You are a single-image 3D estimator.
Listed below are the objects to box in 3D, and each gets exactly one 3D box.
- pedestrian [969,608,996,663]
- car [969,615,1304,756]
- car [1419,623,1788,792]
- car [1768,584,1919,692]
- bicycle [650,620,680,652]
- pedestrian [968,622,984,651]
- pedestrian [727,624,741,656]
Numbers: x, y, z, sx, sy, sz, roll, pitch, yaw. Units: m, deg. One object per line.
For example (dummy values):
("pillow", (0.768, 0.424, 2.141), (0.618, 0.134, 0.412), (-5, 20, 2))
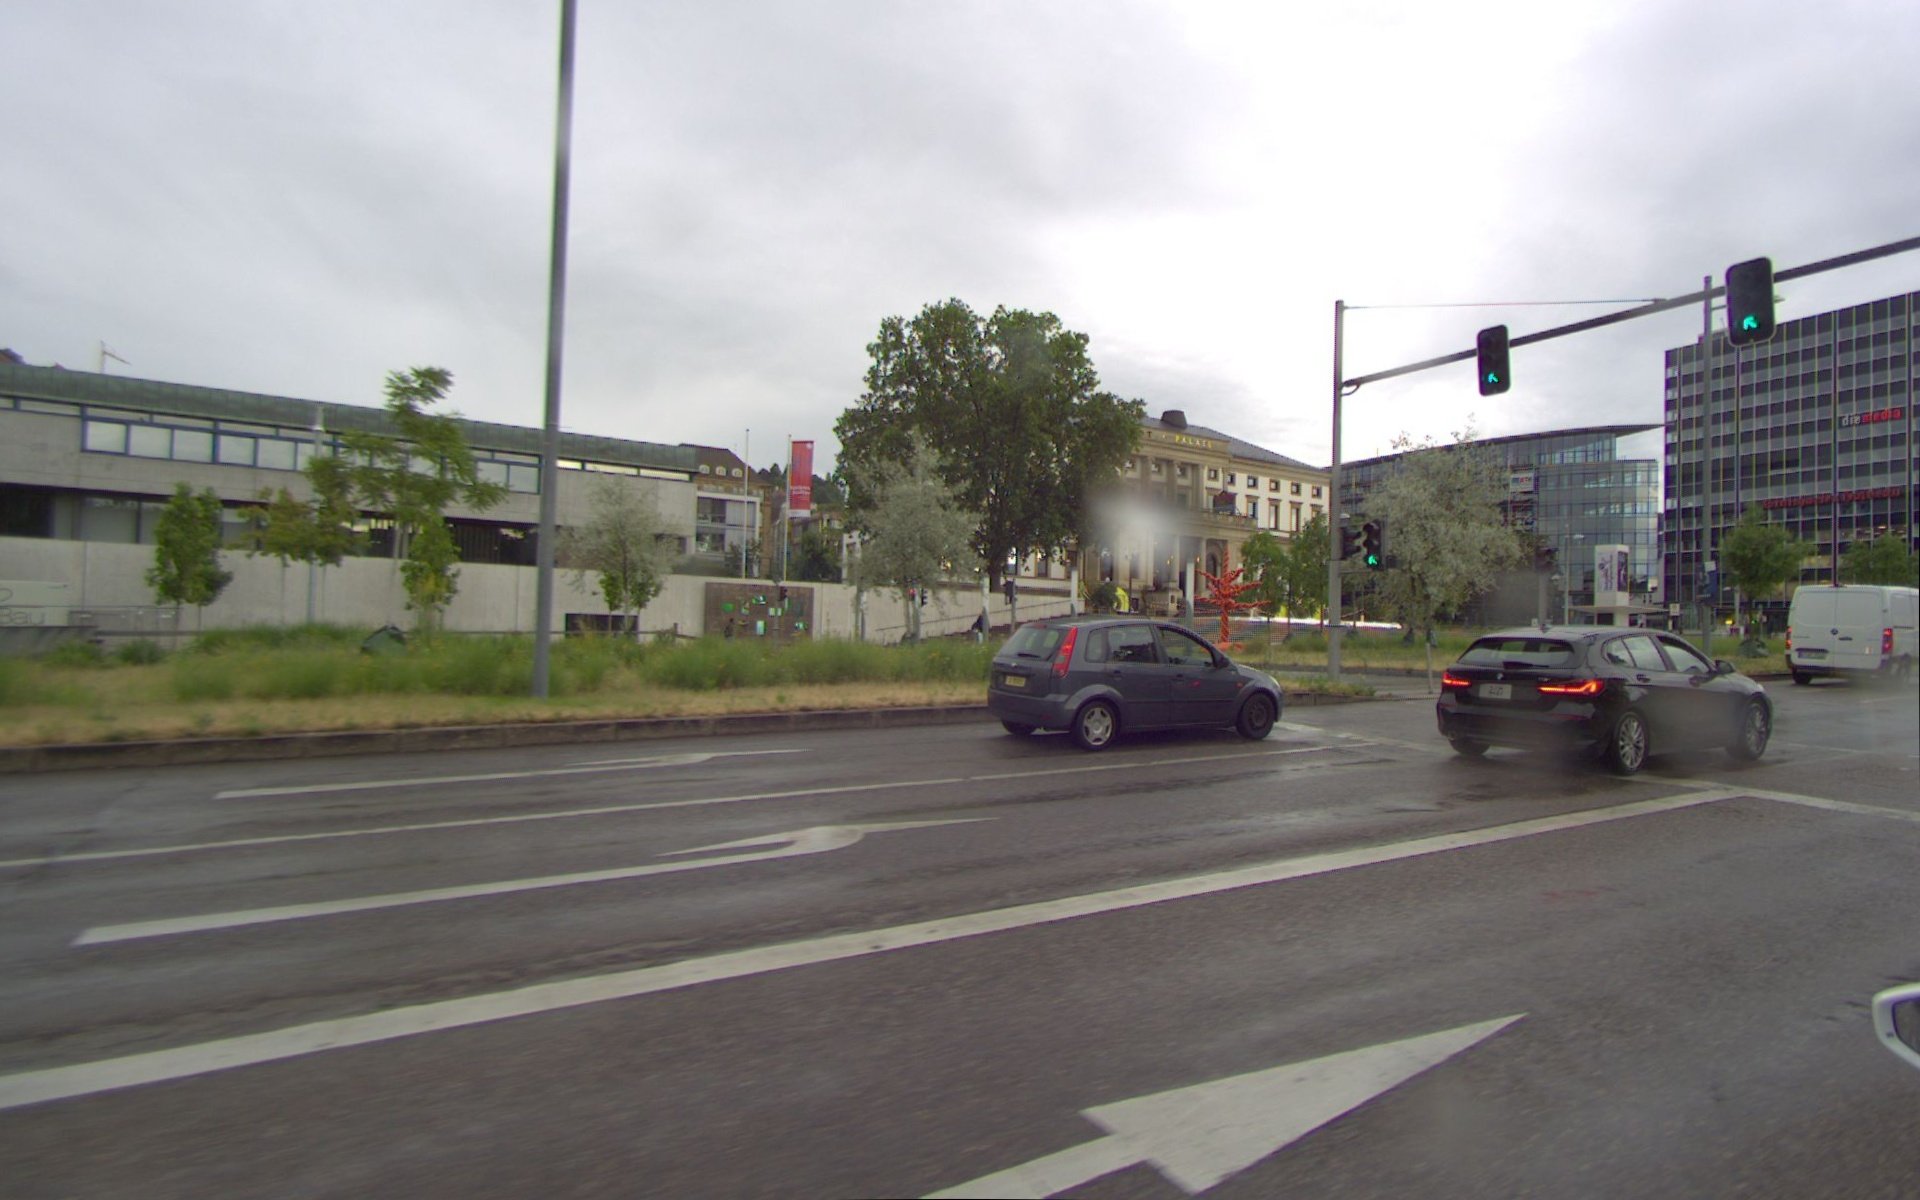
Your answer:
("pedestrian", (0.895, 1.419, 40.280), (0.717, 2.120, 0.764), (-4, 2, -27))
("car", (2.170, 0.973, 12.035), (3.856, 1.434, 1.535), (3, -1, -30))
("car", (7.046, 1.013, 10.897), (4.174, 1.491, 1.744), (1, 0, -32))
("car", (21.885, 0.933, 24.080), (4.947, 2.344, 2.282), (3, -1, -30))
("bicycle", (-12.591, 1.529, 42.847), (0.554, 1.325, 1.462), (3, -1, -44))
("pedestrian", (0.835, 1.914, 52.714), (0.626, 1.441, 0.489), (3, -1, -30))
("pedestrian", (-10.167, 1.793, 45.145), (0.567, 1.401, 0.467), (2, -1, -15))
